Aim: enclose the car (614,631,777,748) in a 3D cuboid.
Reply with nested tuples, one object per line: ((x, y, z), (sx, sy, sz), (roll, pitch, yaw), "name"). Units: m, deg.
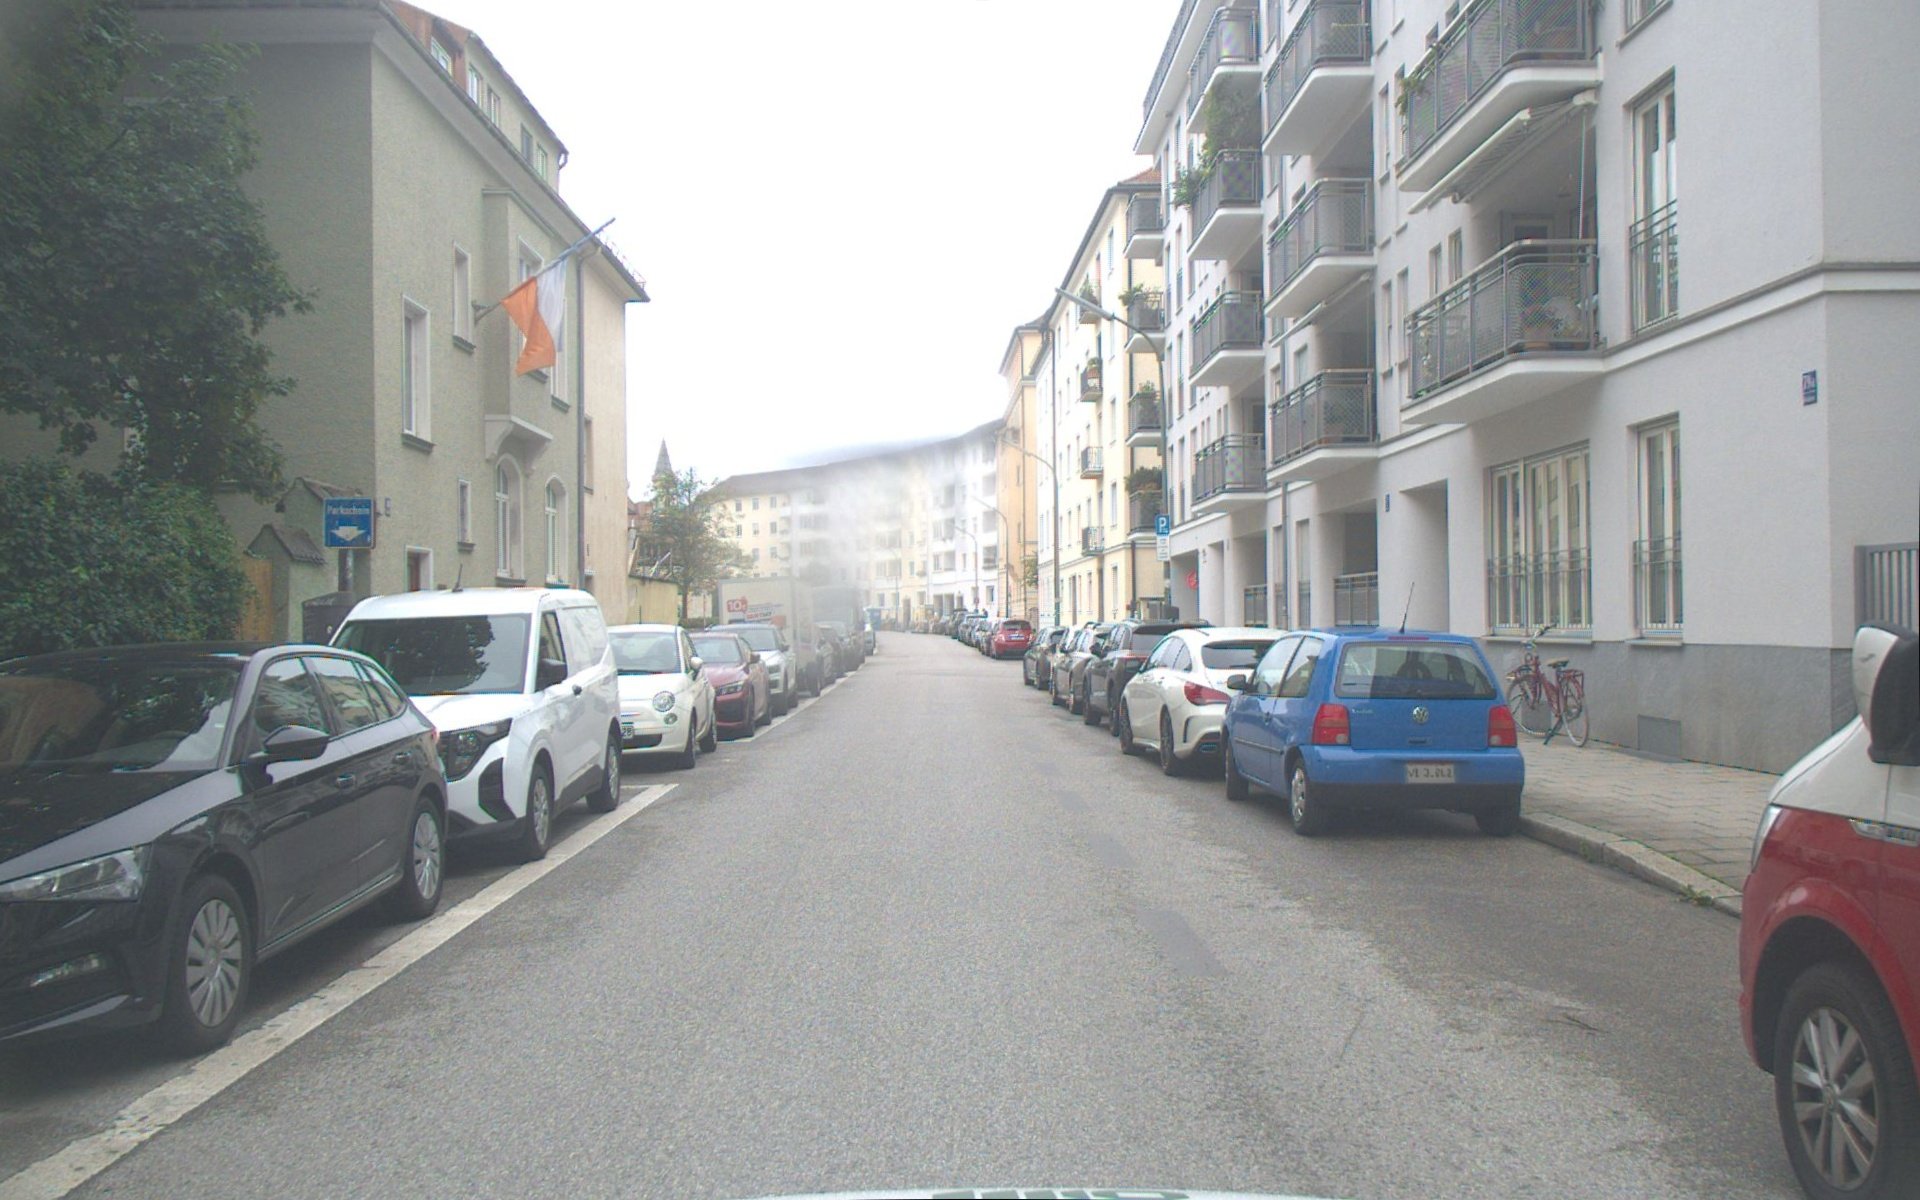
((-3.638, 1.194, 23.433), (1.710, 1.392, 4.401), (-1, 0, -2), "car")

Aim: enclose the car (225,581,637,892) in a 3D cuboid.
((-3.539, 0.812, 11.907), (1.680, 1.787, 4.249), (-1, 0, -2), "car")

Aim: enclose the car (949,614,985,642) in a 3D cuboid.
((0.453, 1.823, 108.841), (2.126, 1.769, 5.021), (1, 0, -2), "car")

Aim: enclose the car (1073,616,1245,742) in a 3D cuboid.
((2.726, 1.046, 23.495), (1.800, 1.559, 4.020), (-1, 0, -2), "car")

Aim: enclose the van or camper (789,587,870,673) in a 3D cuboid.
((-4.369, 0.985, 56.364), (2.246, 2.697, 5.560), (-2, -1, 0), "van or camper")

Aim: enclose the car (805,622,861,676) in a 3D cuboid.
((-3.962, 1.496, 51.336), (1.620, 1.523, 3.904), (-2, 0, -5), "car")

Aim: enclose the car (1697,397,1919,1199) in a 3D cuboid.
((3.151, 0.566, 2.555), (1.816, 2.066, 4.782), (1, 0, -1), "car")

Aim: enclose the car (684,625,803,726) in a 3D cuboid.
((-3.721, 1.261, 29.021), (1.645, 1.557, 4.105), (-1, 0, -2), "car")

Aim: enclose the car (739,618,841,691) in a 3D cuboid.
((-4.020, 1.259, 39.831), (1.825, 1.568, 5.091), (-2, 0, 1), "car")

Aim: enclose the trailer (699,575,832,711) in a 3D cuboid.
((-3.917, 0.863, 34.139), (1.935, 2.514, 4.577), (-3, -1, 2), "trailer")

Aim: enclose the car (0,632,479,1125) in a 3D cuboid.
((-3.483, 0.915, 7.155), (1.680, 1.445, 4.164), (-1, 0, -2), "car")

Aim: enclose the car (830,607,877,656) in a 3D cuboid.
((-4.509, 1.281, 69.475), (1.878, 1.994, 4.956), (0, 0, -5), "car")

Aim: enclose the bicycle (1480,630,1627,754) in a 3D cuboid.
((6.112, 0.919, 17.157), (0.785, 1.192, 1.973), (0, -1, -1), "bicycle")

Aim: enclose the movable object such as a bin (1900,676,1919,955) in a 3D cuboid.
((4.672, 0.909, 6.204), (1.000, 1.214, 2.163), (-3, -1, -1), "movable object such as a bin")

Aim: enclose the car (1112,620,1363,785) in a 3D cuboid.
((2.752, 0.996, 17.390), (1.631, 1.493, 4.372), (-1, -2, -4), "car")

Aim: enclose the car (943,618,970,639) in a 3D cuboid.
((-0.252, 2.035, 118.842), (1.599, 1.442, 3.675), (1, 0, -5), "car")

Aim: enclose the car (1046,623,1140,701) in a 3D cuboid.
((2.726, 1.246, 34.584), (1.584, 1.493, 3.745), (1, 0, -1), "car")

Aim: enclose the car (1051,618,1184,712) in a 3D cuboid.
((2.683, 1.083, 29.085), (1.755, 1.508, 4.601), (0, -1, -2), "car")

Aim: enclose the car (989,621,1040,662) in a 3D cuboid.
((2.038, 1.553, 63.016), (1.622, 1.455, 3.753), (1, 0, -3), "car")

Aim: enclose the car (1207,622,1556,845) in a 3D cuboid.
((3.107, 0.917, 12.946), (1.680, 1.448, 3.718), (0, 0, -2), "car")

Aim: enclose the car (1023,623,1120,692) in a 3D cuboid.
((2.544, 1.302, 38.700), (1.736, 1.501, 4.214), (0, 0, -4), "car")

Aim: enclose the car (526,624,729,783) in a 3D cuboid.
((-3.542, 1.047, 18.164), (1.594, 1.493, 3.519), (-1, 0, -2), "car")

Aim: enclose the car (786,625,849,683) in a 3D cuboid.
((-4.000, 1.487, 46.734), (1.642, 1.461, 4.282), (-2, 0, -4), "car")
